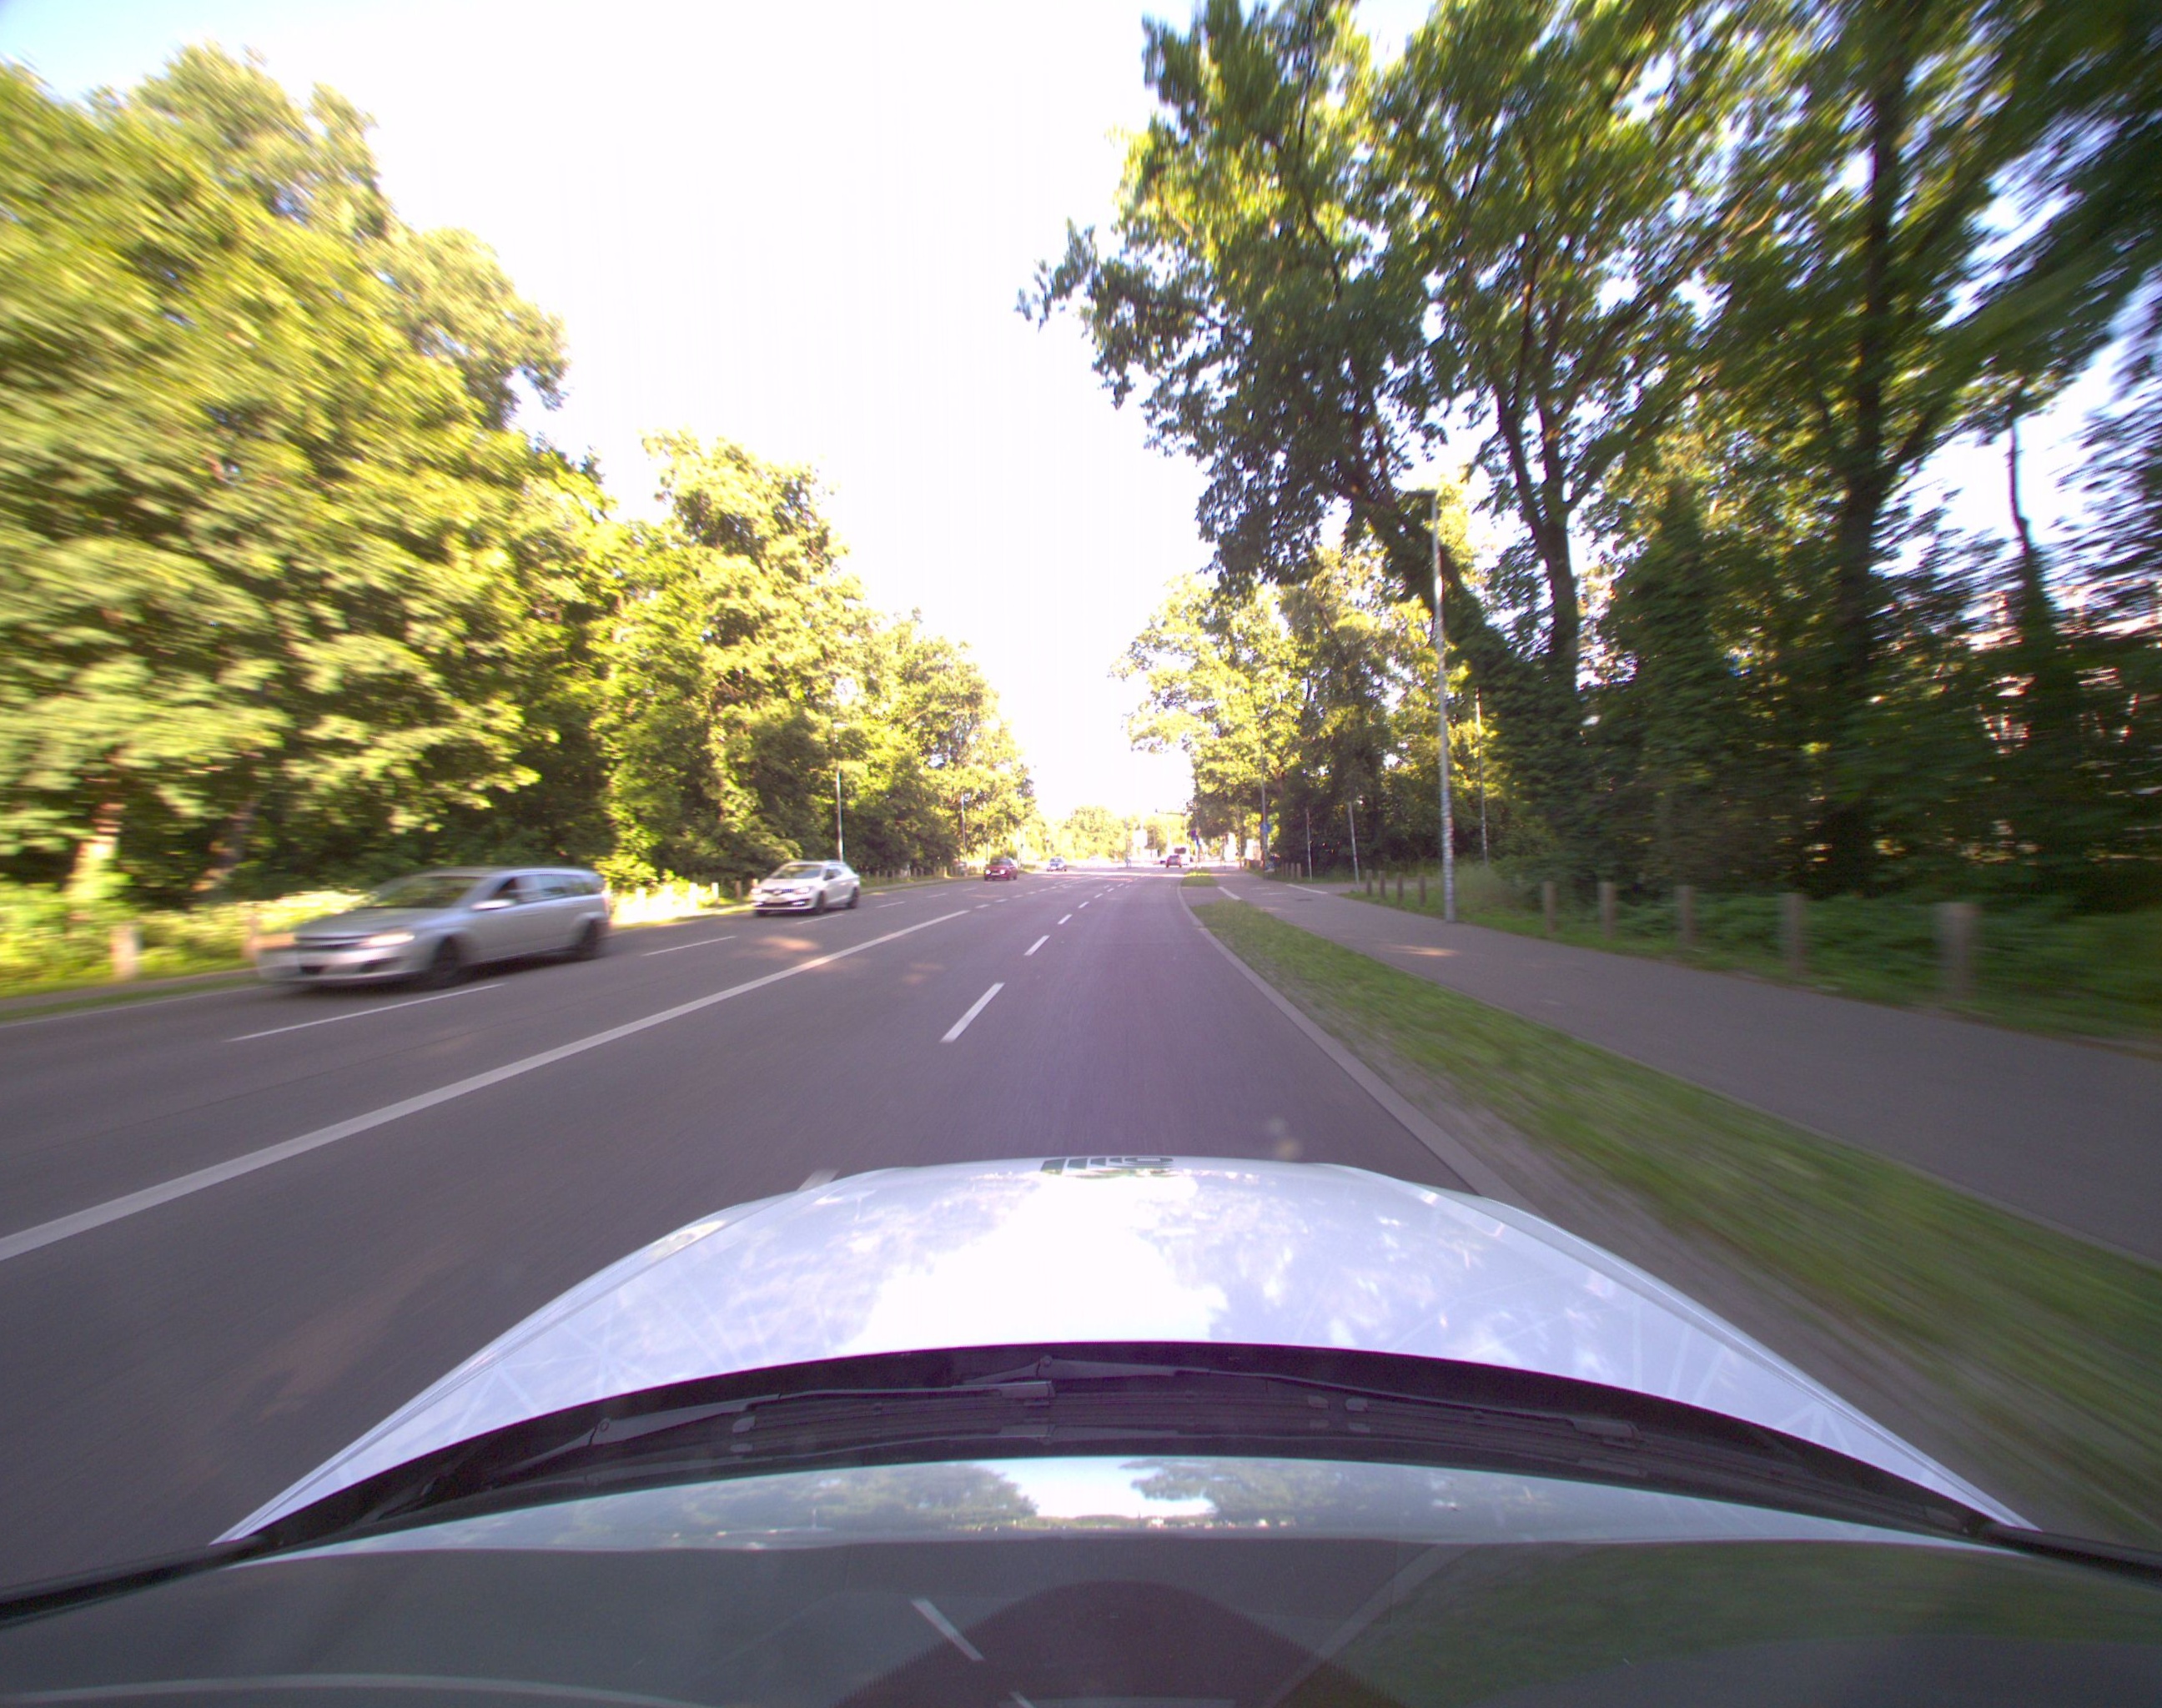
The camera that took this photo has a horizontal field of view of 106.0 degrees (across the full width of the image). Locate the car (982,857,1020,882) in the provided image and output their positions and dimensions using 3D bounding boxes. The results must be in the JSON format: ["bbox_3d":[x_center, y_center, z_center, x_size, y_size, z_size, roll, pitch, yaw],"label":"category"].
[{"bbox_3d":[-5.244,1.000,53.945,1.654,1.518,3.814,-2,0,7],"label":"car"}]

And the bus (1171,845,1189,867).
[{"bbox_3d":[15.423,0.296,126.042,2.591,3.368,7.992,-1,0,8],"label":"bus"}]

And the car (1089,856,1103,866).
[{"bbox_3d":[2.233,0.982,119.680,1.702,1.464,4.106,0,0,5],"label":"car"}]

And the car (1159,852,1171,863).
[{"bbox_3d":[14.693,0.644,141.556,1.870,1.765,4.009,-2,0,8],"label":"car"}]

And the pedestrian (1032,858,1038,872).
[{"bbox_3d":[-6.329,1.558,112.539,0.609,1.909,1.109,-2,-1,8],"label":"pedestrian"}]

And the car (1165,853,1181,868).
[{"bbox_3d":[11.229,0.746,99.277,1.870,1.765,4.009,-2,0,8],"label":"car"}]

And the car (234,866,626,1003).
[{"bbox_3d":[-8.387,0.923,11.135,1.772,1.464,4.277,0,0,3],"label":"car"}]

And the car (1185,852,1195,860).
[{"bbox_3d":[23.647,0.481,177.108,1.851,1.684,3.785,-3,0,12],"label":"car"}]

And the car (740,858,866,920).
[{"bbox_3d":[-7.735,0.902,23.108,1.775,1.522,4.402,-2,0,4],"label":"car"}]

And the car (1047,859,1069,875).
[{"bbox_3d":[-2.356,1.332,82.795,1.647,1.508,4.007,-2,0,6],"label":"car"}]
